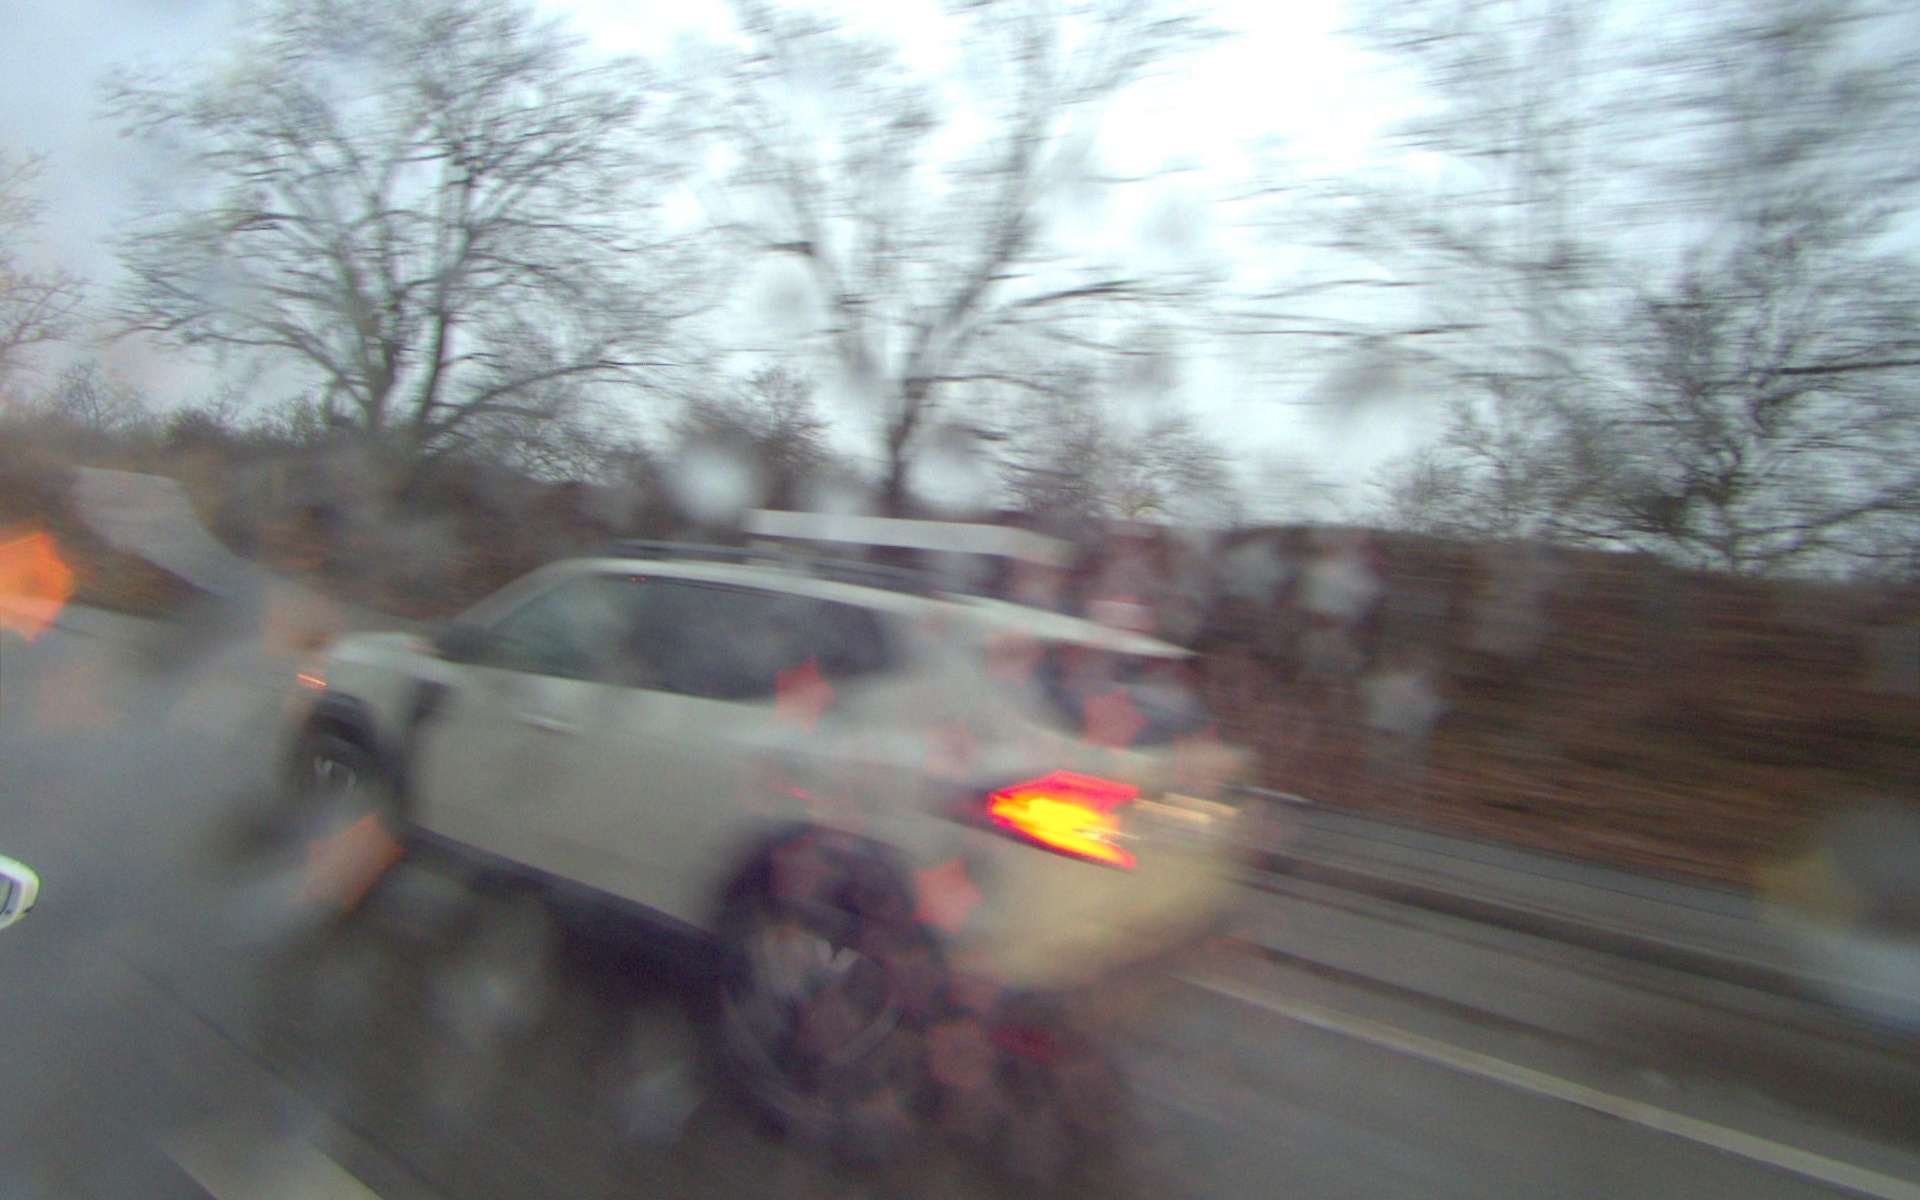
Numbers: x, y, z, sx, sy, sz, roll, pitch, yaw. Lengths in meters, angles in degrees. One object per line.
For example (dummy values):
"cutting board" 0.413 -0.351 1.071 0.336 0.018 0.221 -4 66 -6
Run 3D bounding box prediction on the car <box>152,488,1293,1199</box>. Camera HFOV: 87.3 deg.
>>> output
"car" -1.117 0.603 4.134 4.335 1.638 1.819 6 0 29
